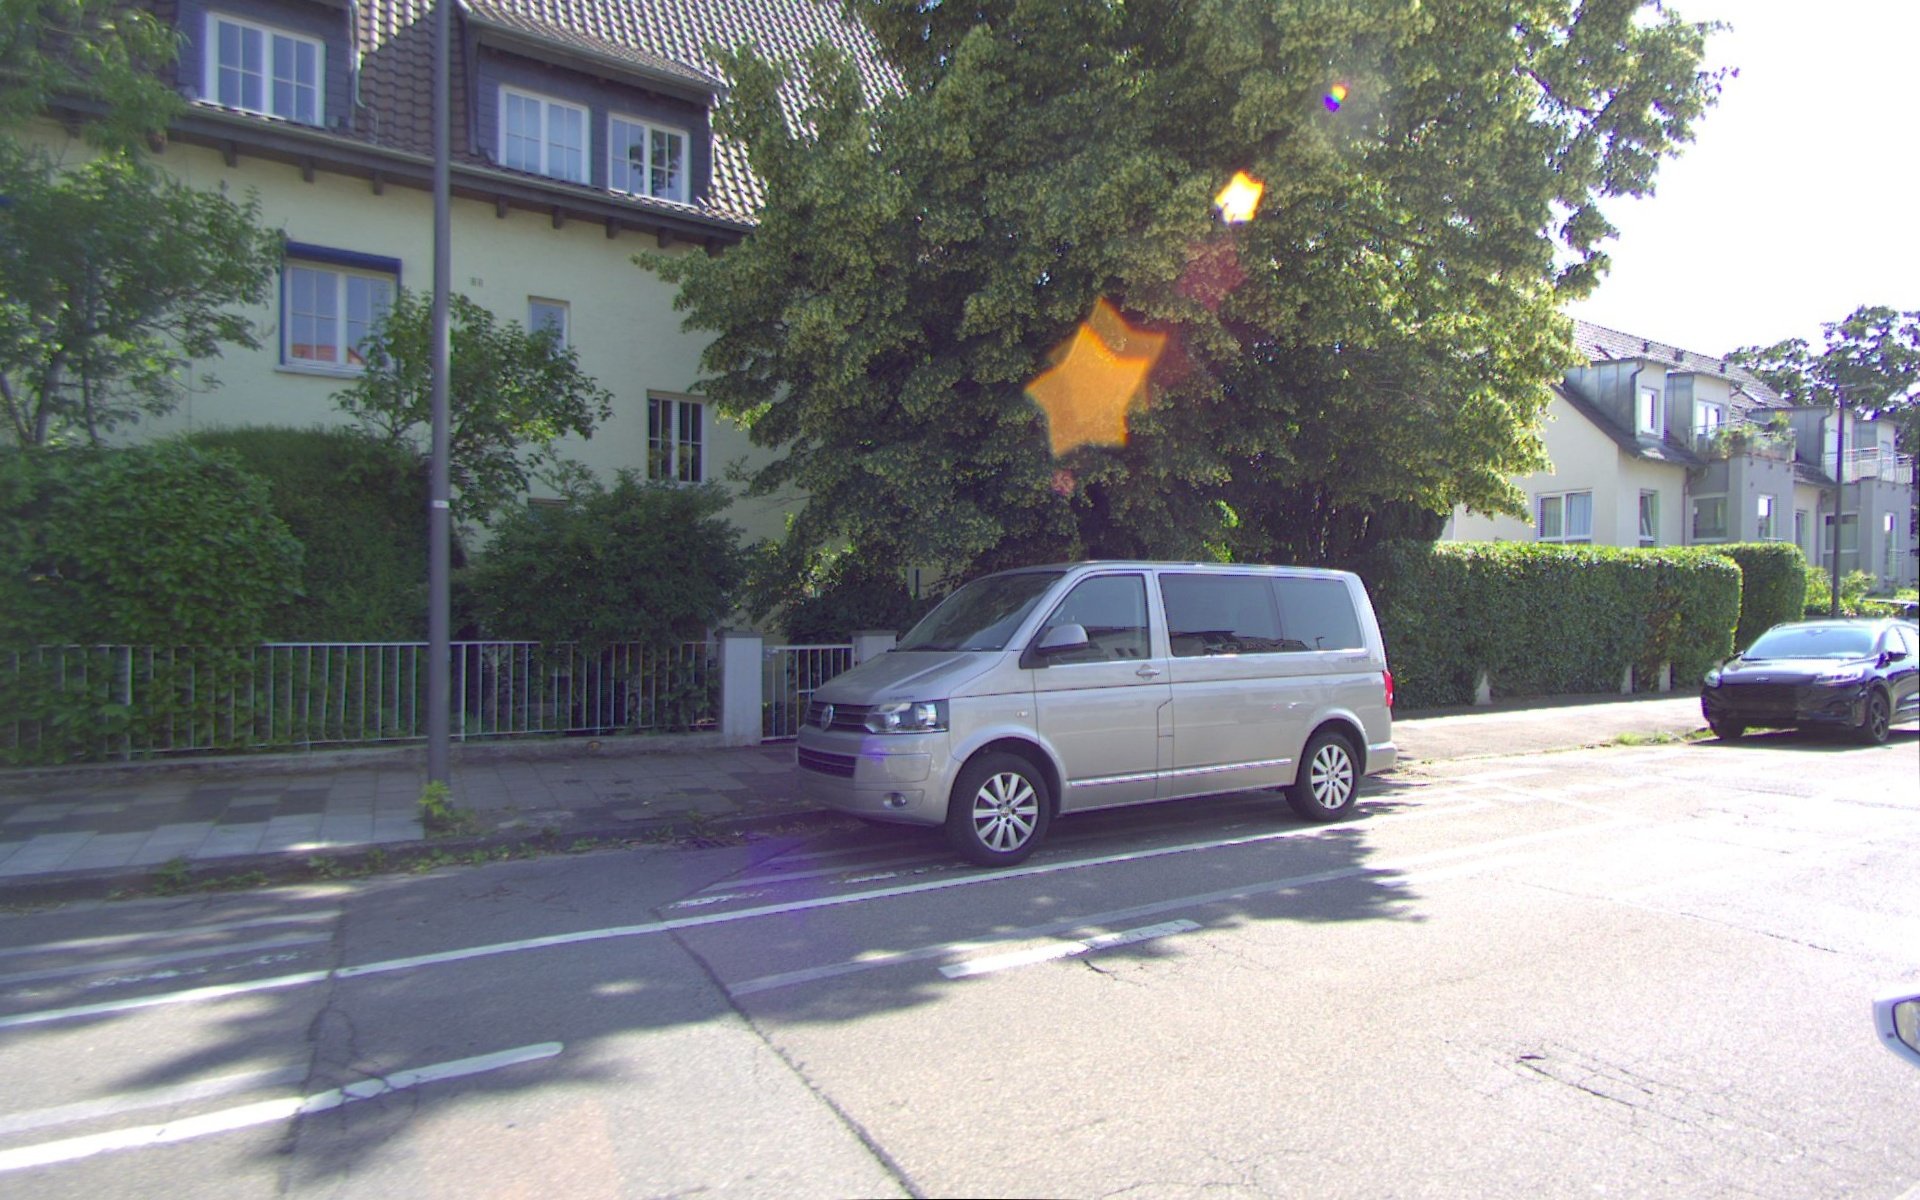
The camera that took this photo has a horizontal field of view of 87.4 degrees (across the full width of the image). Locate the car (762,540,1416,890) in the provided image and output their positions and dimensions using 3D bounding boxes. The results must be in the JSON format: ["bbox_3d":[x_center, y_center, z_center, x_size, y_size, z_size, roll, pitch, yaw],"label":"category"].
[{"bbox_3d":[1.103,0.724,7.652,4.811,1.944,1.876,1,-3,-31],"label":"car"}]

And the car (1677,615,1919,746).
[{"bbox_3d":[12.468,1.098,14.437,4.396,1.631,1.843,1,-4,-30],"label":"car"}]
